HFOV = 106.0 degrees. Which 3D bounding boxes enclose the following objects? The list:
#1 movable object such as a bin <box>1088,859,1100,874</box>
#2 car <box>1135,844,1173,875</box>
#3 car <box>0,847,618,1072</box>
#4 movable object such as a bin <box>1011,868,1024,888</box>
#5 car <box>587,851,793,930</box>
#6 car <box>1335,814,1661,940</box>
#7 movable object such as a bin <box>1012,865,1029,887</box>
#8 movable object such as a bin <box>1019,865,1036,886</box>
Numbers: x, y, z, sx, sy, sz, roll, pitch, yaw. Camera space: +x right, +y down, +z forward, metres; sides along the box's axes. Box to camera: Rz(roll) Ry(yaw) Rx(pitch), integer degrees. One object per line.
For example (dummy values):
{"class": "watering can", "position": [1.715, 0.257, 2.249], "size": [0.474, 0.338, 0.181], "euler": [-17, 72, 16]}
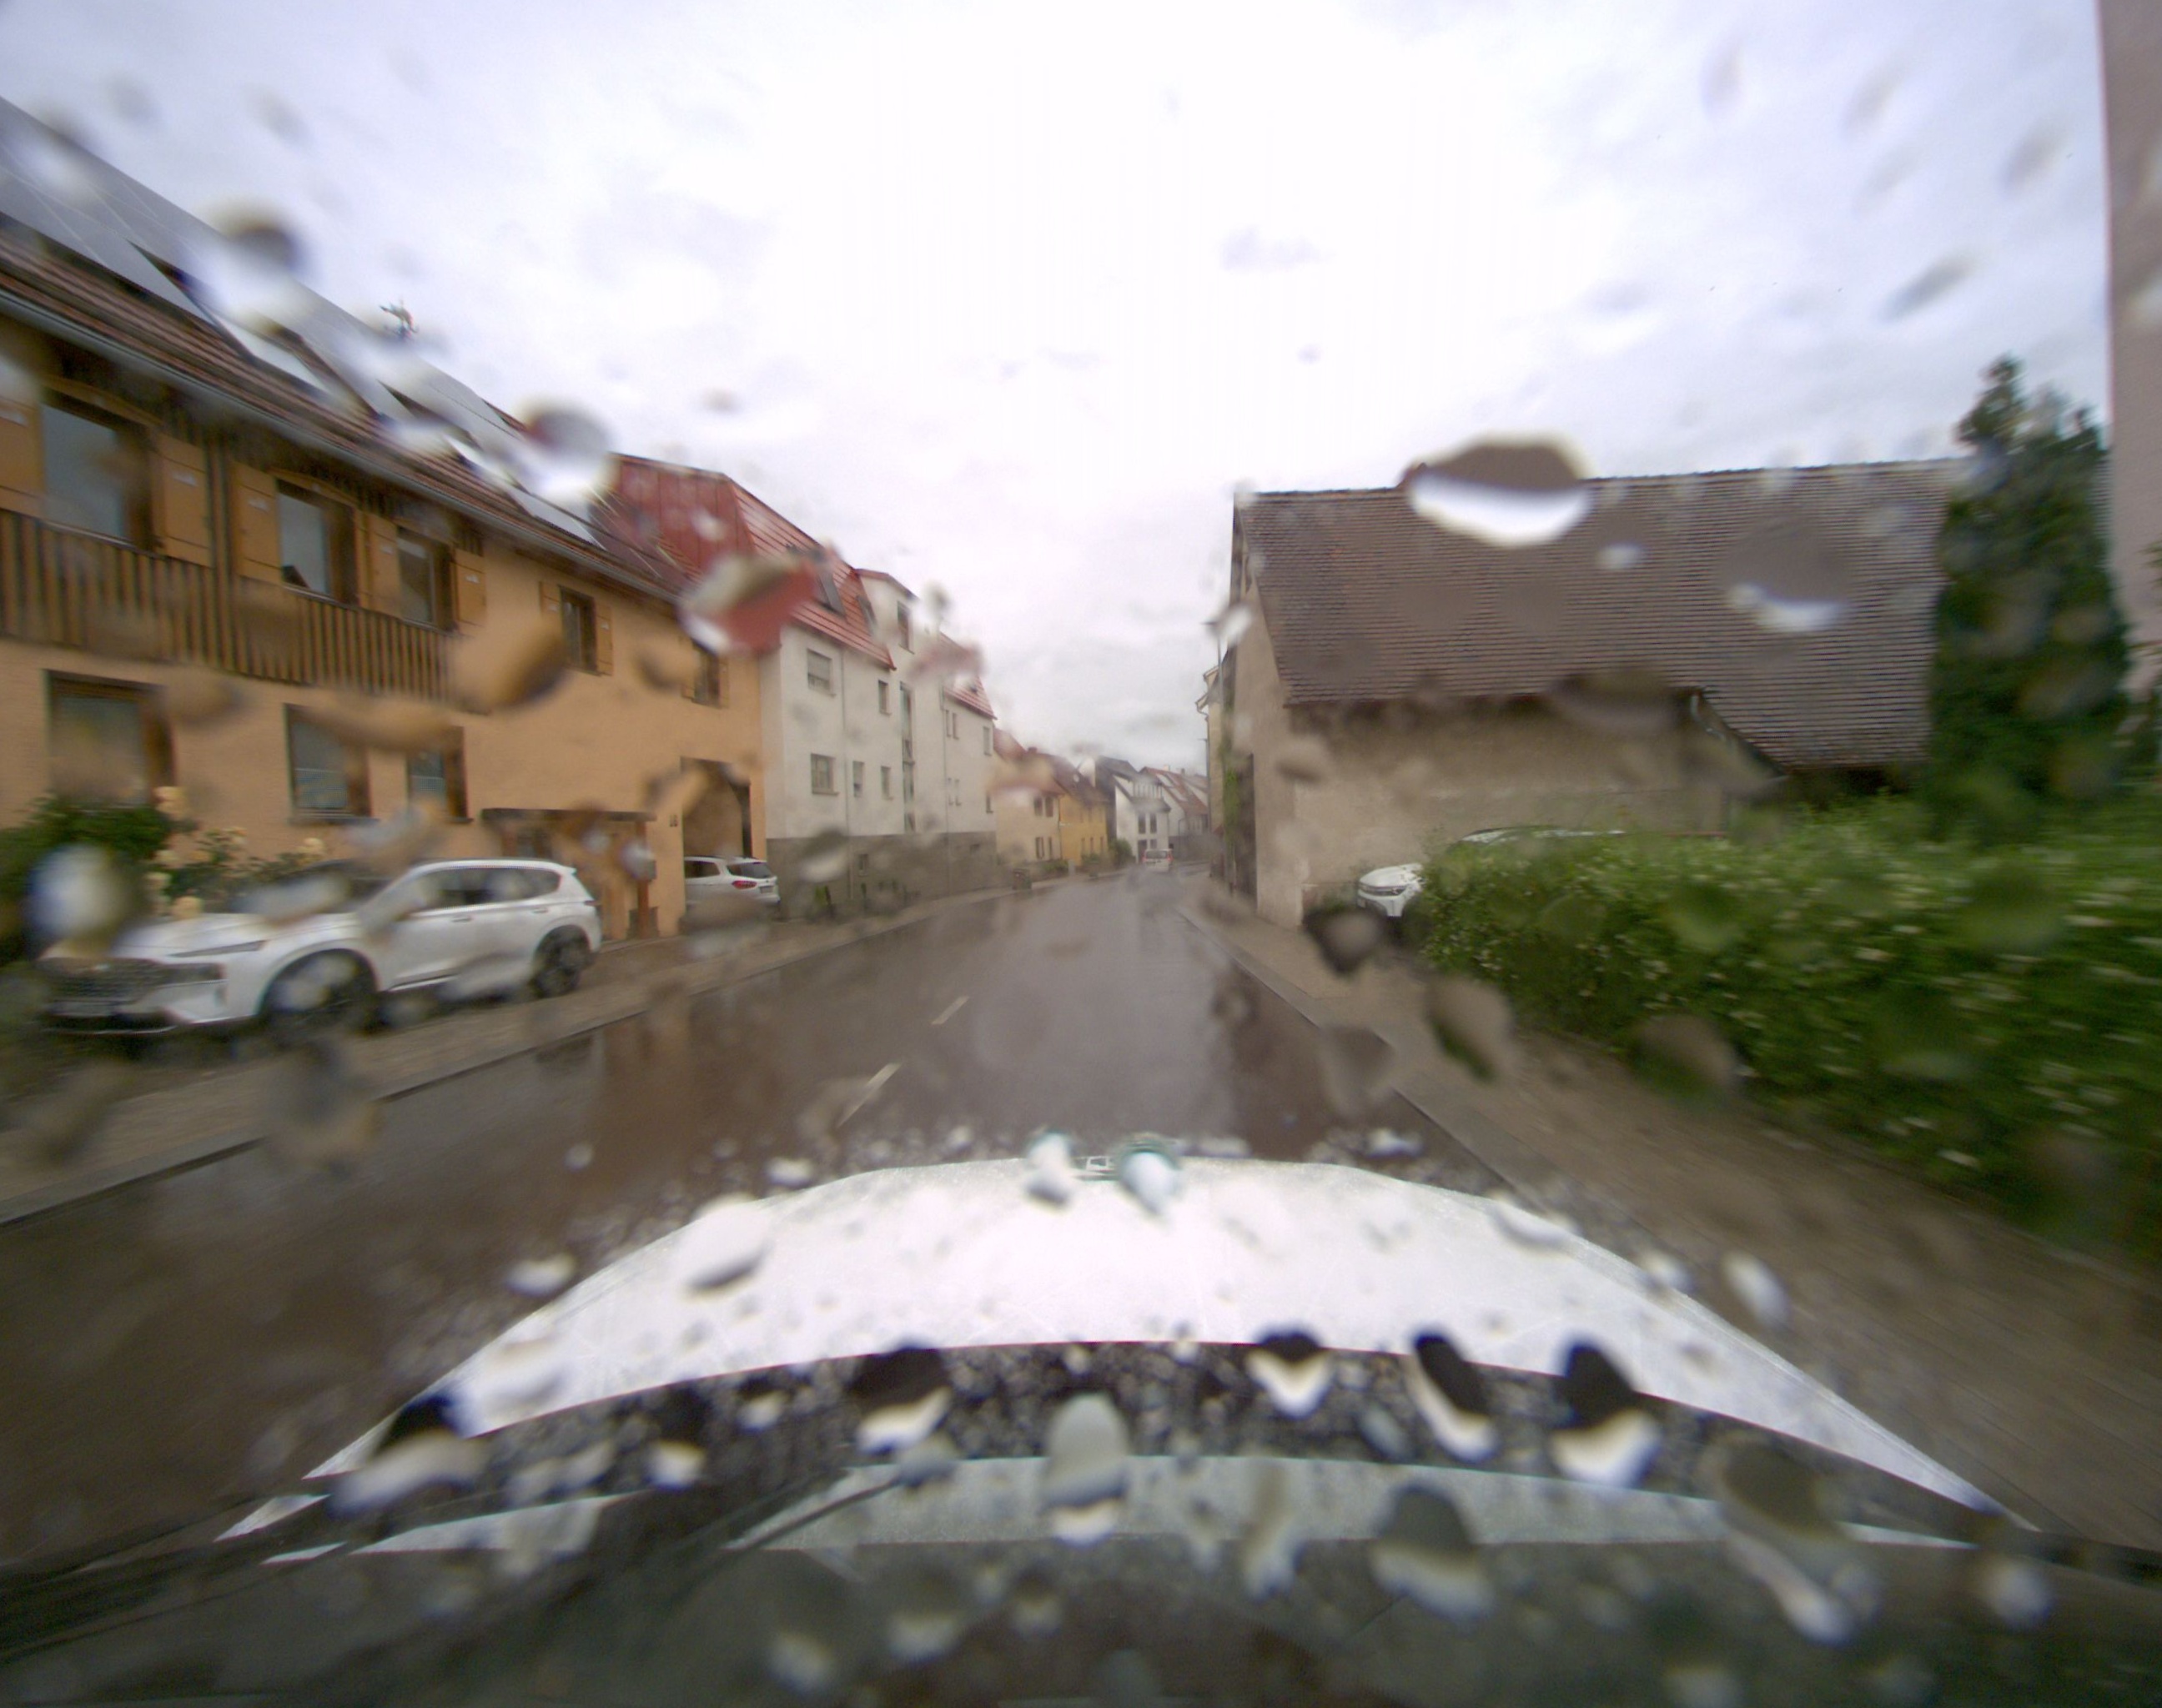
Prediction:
{"class": "movable object such as a bin", "position": [0.907, 0.895, 57.501], "size": [0.655, 1.056, 0.766], "euler": [1, 0, 12]}
{"class": "car", "position": [4.787, 0.317, 52.855], "size": [2.183, 1.851, 4.313], "euler": [-2, 0, 7]}
{"class": "car", "position": [-7.334, 0.817, 8.610], "size": [1.804, 1.706, 4.625], "euler": [-2, 0, 6]}
{"class": "movable object such as a bin", "position": [-3.078, 1.161, 39.402], "size": [0.503, 0.922, 0.580], "euler": [0, 0, 8]}
{"class": "car", "position": [-9.193, 0.806, 19.327], "size": [3.965, 1.670, 1.882], "euler": [1, 0, 8]}
{"class": "car", "position": [6.498, 0.349, 13.112], "size": [4.198, 1.649, 1.905], "euler": [-4, 0, 4]}
{"class": "movable object such as a bin", "position": [-2.973, 1.093, 40.116], "size": [0.677, 1.066, 0.697], "euler": [0, 0, 10]}
{"class": "movable object such as a bin", "position": [-2.692, 1.089, 41.043], "size": [0.677, 1.045, 0.663], "euler": [0, 0, 10]}
